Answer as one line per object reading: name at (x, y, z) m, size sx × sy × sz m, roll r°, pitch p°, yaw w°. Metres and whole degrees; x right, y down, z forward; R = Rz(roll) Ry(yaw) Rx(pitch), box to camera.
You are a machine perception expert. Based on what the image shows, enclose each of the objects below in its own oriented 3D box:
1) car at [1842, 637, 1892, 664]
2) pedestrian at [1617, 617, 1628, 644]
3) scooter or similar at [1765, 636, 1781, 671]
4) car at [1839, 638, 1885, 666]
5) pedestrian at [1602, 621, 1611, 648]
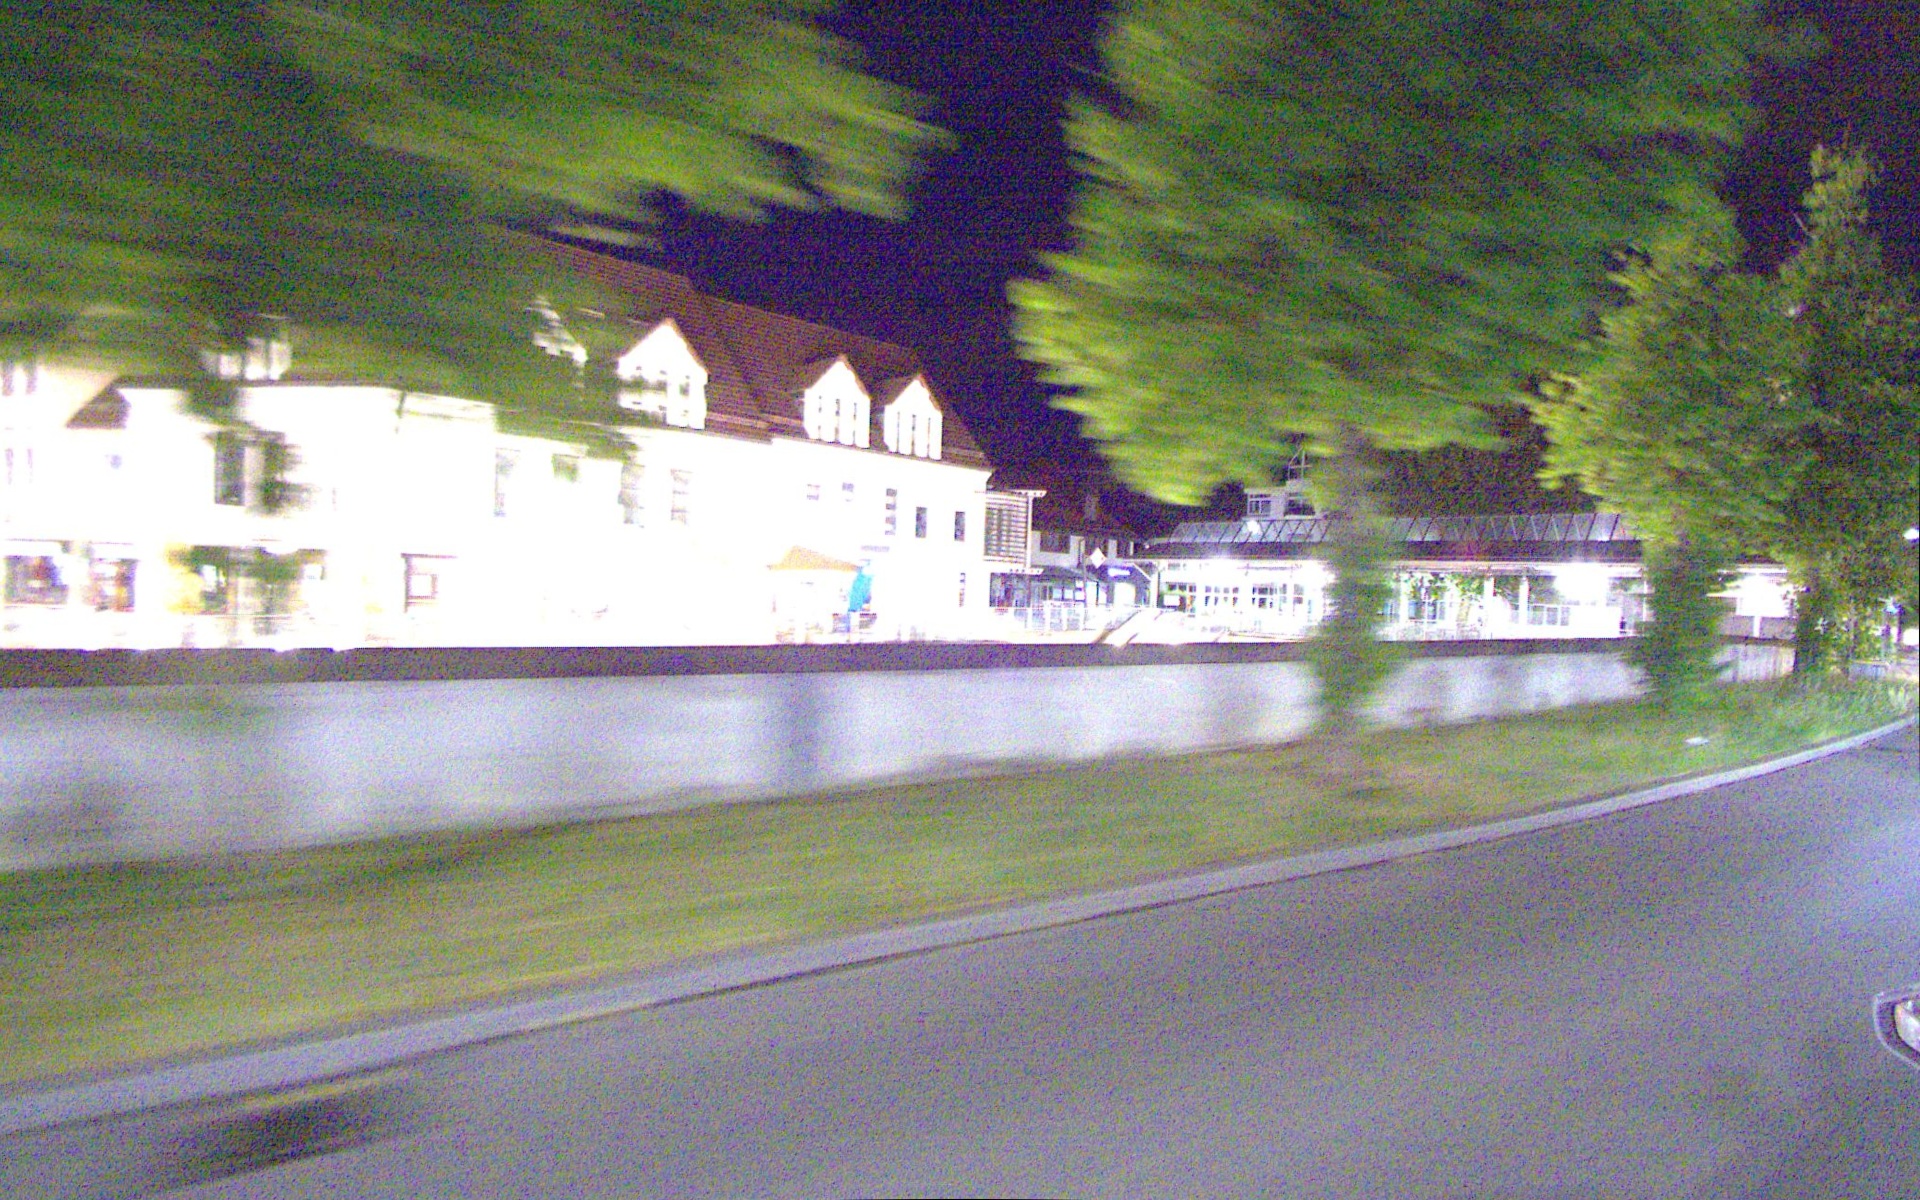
car at (56.375, 3.111, 62.478) m, size 1.809 × 1.472 × 3.987 m, roll -1°, pitch -1°, yaw 35°
pedestrian at (38.134, 1.748, 57.839) m, size 0.520 × 1.566 × 0.510 m, roll 0°, pitch -1°, yaw 33°
scooter or similar at (31.388, 2.069, 38.780) m, size 0.425 × 1.302 × 1.141 m, roll 0°, pitch -1°, yaw 42°
car at (49.260, 2.844, 54.883) m, size 1.813 × 1.472 × 3.979 m, roll -1°, pitch -3°, yaw 42°
pedestrian at (37.658, 2.005, 58.505) m, size 0.452 × 1.566 × 0.480 m, roll 0°, pitch -1°, yaw 36°
